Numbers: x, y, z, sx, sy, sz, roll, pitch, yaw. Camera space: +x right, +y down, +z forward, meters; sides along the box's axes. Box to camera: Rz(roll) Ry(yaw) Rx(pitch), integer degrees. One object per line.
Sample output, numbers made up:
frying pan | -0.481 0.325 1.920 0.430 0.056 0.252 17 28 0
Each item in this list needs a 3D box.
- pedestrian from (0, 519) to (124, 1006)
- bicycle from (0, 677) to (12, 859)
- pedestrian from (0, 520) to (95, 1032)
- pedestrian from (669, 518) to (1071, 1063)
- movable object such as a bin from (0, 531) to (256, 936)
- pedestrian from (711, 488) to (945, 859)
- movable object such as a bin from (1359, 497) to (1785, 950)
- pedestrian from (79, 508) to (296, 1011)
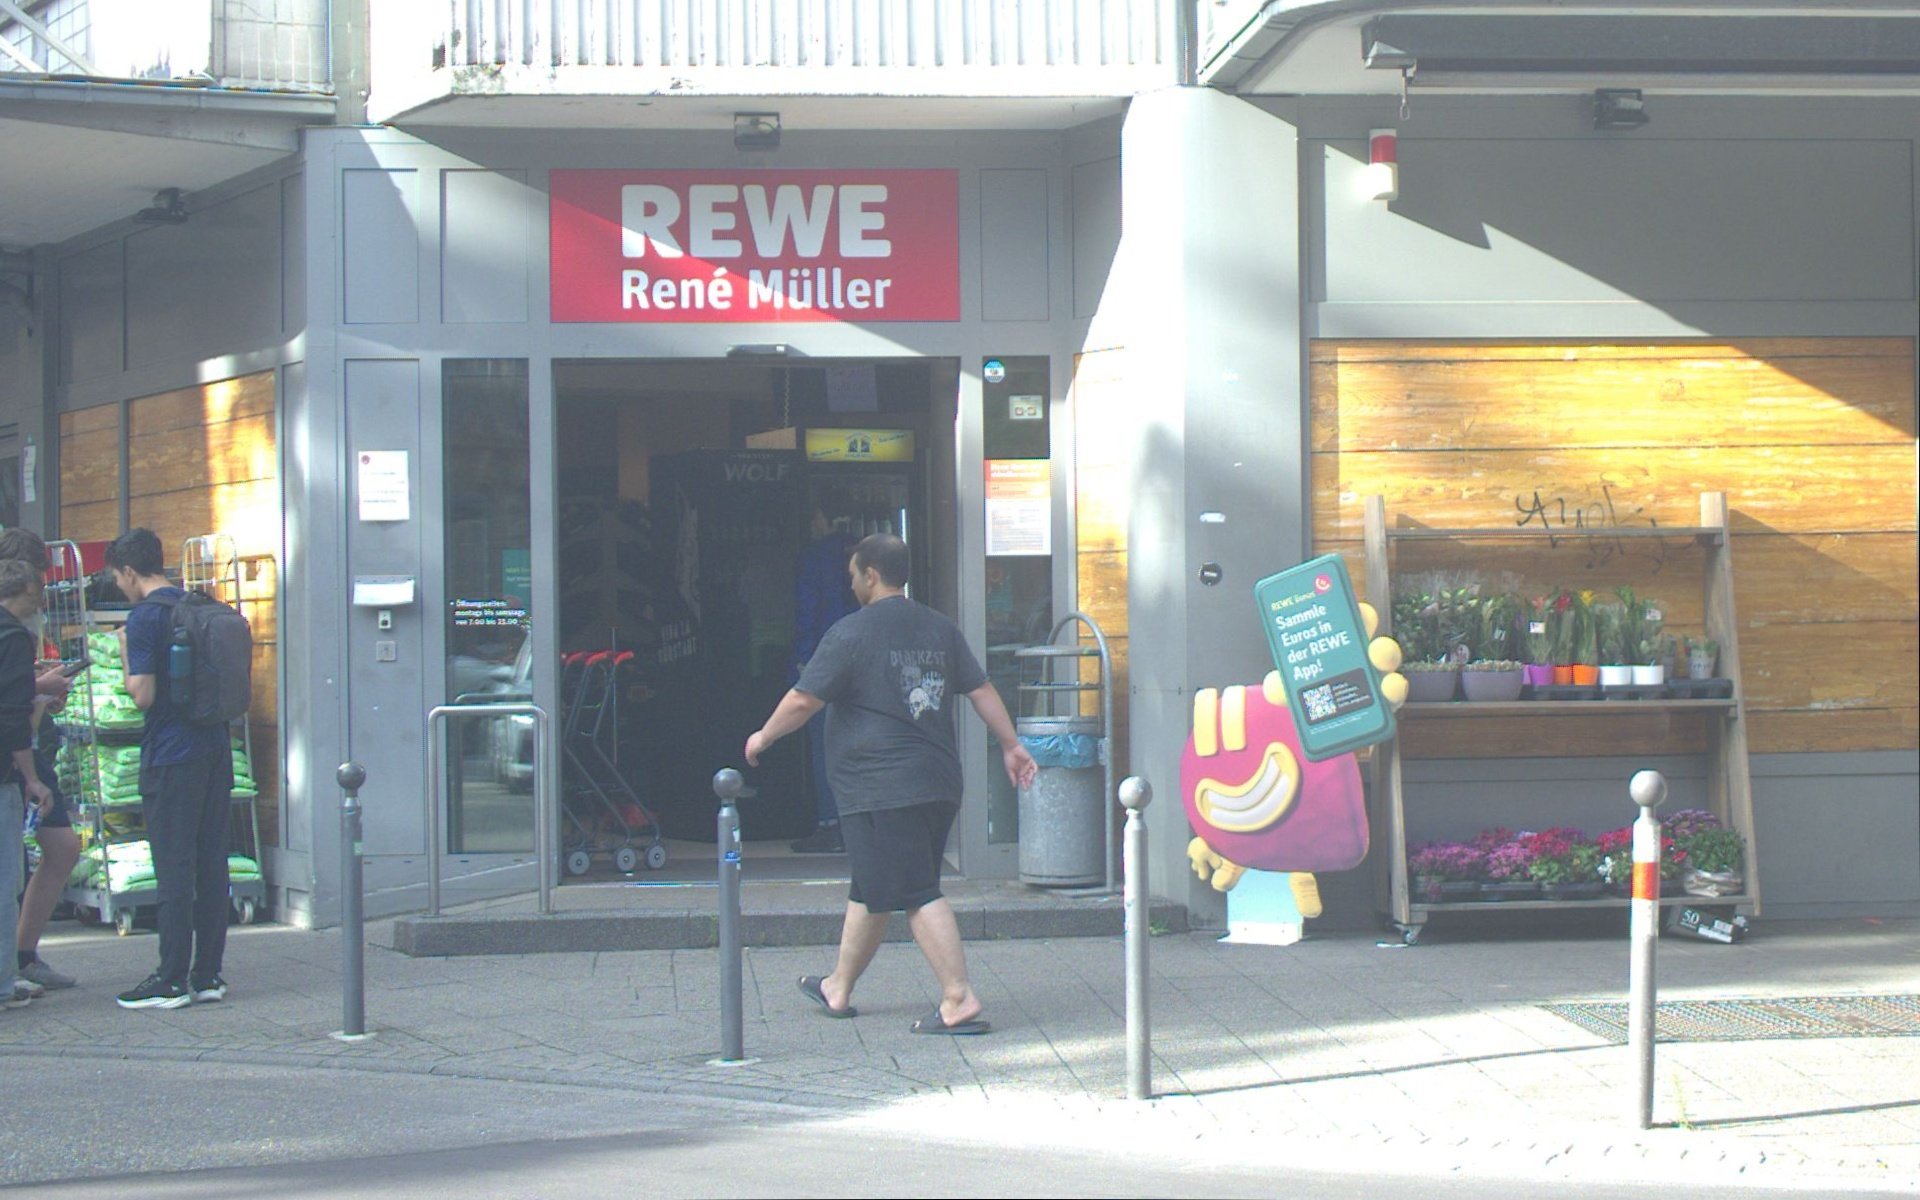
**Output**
pedestrian | -3.679 0.610 13.100 0.712 1.791 0.632 -2 2 4
bicycle | -6.354 0.993 20.136 1.732 1.039 0.676 -2 -1 41
pedestrian | -3.654 0.626 12.530 0.630 1.791 0.714 -2 2 12
pedestrian | -0.316 0.616 11.810 0.849 1.741 1.048 -3 2 -39
movable object such as a bin | -4.040 0.577 16.018 0.779 1.738 2.423 -1 0 -29
pedestrian | -0.650 0.342 16.776 0.763 1.747 0.930 0 0 -33
movable object such as a bin | 2.444 0.470 13.821 1.544 1.748 0.691 -1 2 -7
pedestrian | -2.890 0.567 12.834 0.653 1.791 0.659 -3 2 -17
